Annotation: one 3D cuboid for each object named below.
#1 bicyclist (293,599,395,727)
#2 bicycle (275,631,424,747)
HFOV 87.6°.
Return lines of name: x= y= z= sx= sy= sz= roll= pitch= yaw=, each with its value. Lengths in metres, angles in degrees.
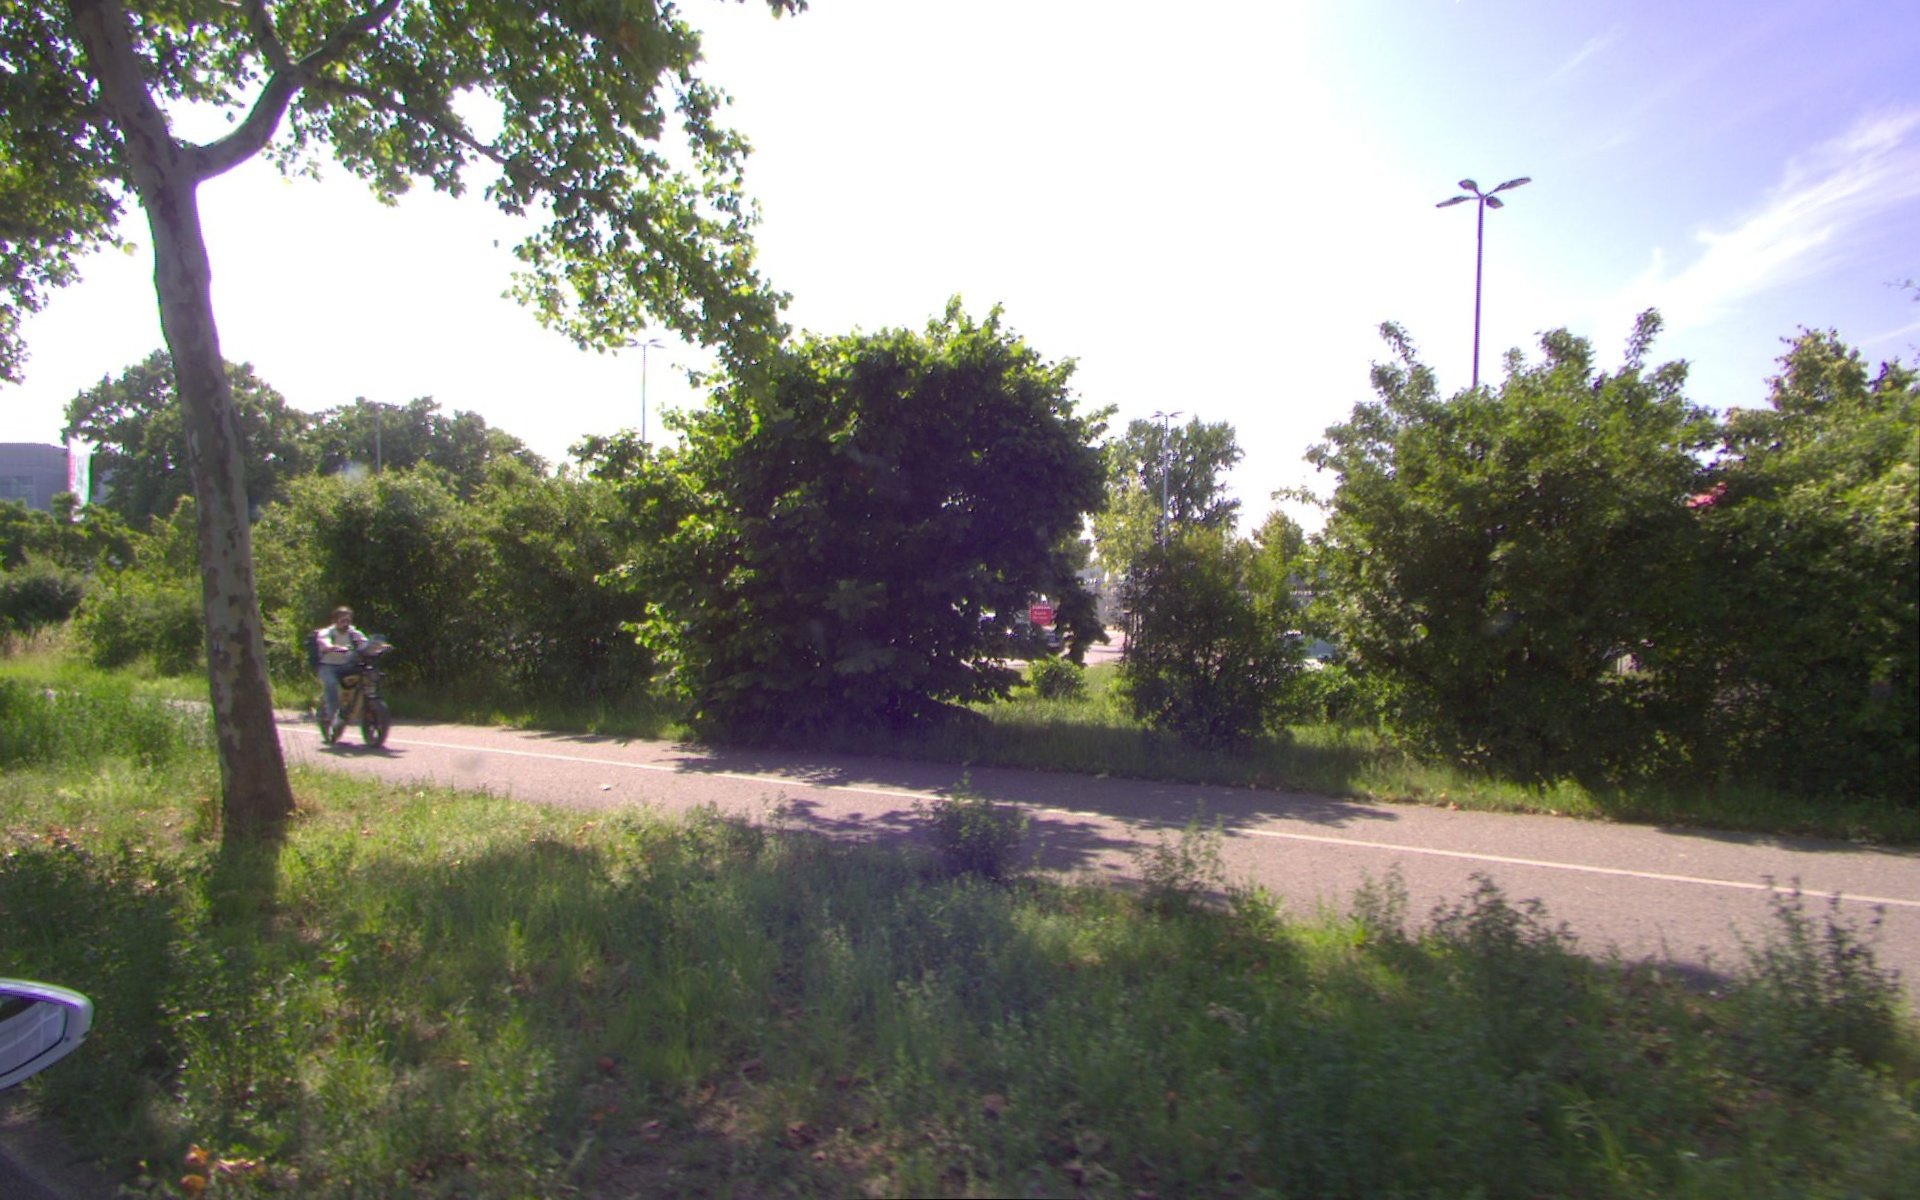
bicyclist: x=-7.575 y=0.754 z=12.320 sx=0.995 sy=1.496 sz=0.703 roll=-1 pitch=-1 yaw=32
bicycle: x=-7.480 y=1.032 z=12.234 sx=2.066 sy=1.315 sz=0.721 roll=-1 pitch=-1 yaw=33
